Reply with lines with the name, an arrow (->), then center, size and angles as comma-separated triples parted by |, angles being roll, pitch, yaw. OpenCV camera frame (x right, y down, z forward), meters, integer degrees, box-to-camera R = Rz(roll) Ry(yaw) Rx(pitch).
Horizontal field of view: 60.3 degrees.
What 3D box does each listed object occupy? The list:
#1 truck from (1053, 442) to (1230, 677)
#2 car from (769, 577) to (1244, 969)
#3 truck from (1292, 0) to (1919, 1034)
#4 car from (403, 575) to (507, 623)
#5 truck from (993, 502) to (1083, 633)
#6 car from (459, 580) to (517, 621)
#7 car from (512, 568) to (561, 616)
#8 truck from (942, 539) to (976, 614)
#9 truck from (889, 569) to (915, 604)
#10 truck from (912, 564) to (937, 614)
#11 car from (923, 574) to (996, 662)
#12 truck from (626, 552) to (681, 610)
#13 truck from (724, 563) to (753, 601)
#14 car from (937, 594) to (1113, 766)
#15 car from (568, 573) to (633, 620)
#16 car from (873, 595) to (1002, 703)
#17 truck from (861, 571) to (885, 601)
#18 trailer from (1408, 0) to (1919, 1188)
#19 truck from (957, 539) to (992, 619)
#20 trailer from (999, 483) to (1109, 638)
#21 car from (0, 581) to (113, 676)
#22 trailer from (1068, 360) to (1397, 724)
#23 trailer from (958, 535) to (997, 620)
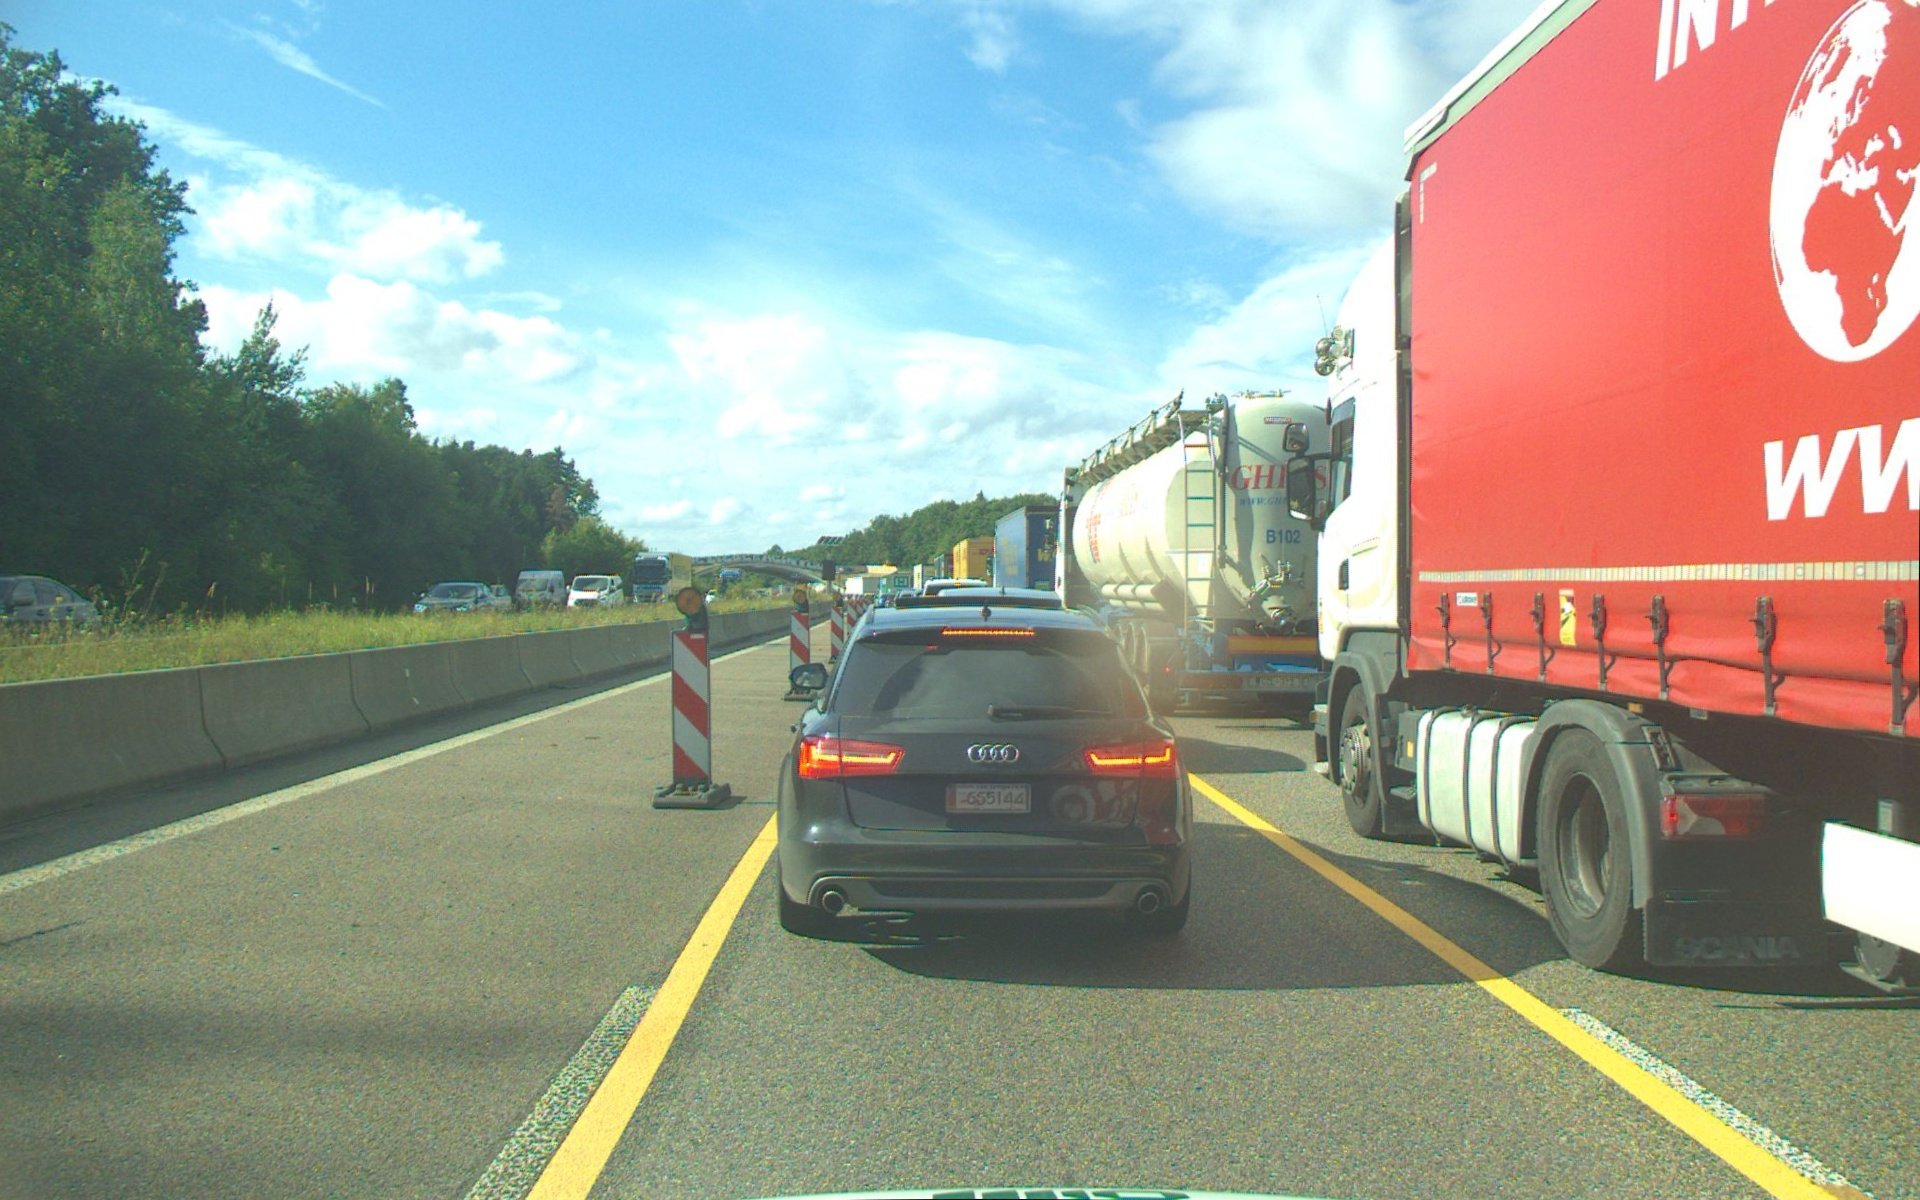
truck -> 3.333, -0.692, 31.697 | 2.605, 4.041, 5.777 | 1, 0, -1
car -> 0.155, 0.675, 8.346 | 1.811, 1.489, 3.999 | 1, 0, -1
truck -> 3.773, -0.432, 8.925 | 2.614, 4.029, 5.709 | 1, 0, -2
car -> -15.607, -0.015, 51.350 | 1.918, 1.386, 4.287 | 1, 0, -1
truck -> 2.773, -1.104, 60.824 | 2.749, 4.446, 7.790 | 1, 0, -1
car -> -24.870, 0.041, 87.268 | 1.953, 2.049, 3.999 | 1, 0, -1
car -> -24.816, -0.444, 97.132 | 2.208, 2.689, 5.010 | 1, 0, -8
truck -> -0.098, -1.596, 114.915 | 1.953, 5.000, 9.558 | 1, 0, -2
truck -> -7.399, -1.689, 209.953 | 3.238, 4.248, 9.697 | 1, 0, -3
truck -> -3.147, -0.977, 148.145 | 2.094, 4.332, 7.069 | 1, 0, -1
car -> -0.023, 0.397, 37.520 | 1.549, 1.869, 3.111 | 1, 0, -1
truck -> -21.582, -1.302, 116.827 | 2.769, 3.977, 5.947 | 1, 0, -1
truck -> -25.493, -2.074, 190.697 | 2.584, 4.262, 5.466 | 1, 0, -1
car -> 0.543, 0.699, 15.953 | 1.493, 1.464, 3.284 | 1, 0, -1
car -> -16.283, -0.134, 75.145 | 1.953, 2.049, 4.830 | 1, 0, -1
car -> -0.325, 0.671, 24.055 | 1.716, 1.421, 3.607 | 1, 0, -1
truck -> -12.767, -2.056, 241.550 | 3.239, 4.248, 9.694 | 1, 0, -4
trailer -> 3.956, -0.427, 2.328 | 2.645, 4.038, 13.413 | 1, 0, -1
truck -> 0.711, -1.035, 84.929 | 1.577, 3.965, 4.070 | 1, 0, -2
trailer -> 2.884, -1.132, 53.730 | 2.748, 4.490, 10.430 | 1, 0, -1
car -> -15.178, 0.413, 25.766 | 1.743, 1.411, 4.309 | 1, 0, -1
trailer -> 3.457, -0.654, 24.774 | 2.590, 4.012, 12.595 | 1, 0, -1
trailer -> 0.818, -1.065, 81.278 | 1.584, 3.987, 6.487 | 1, 0, -2
